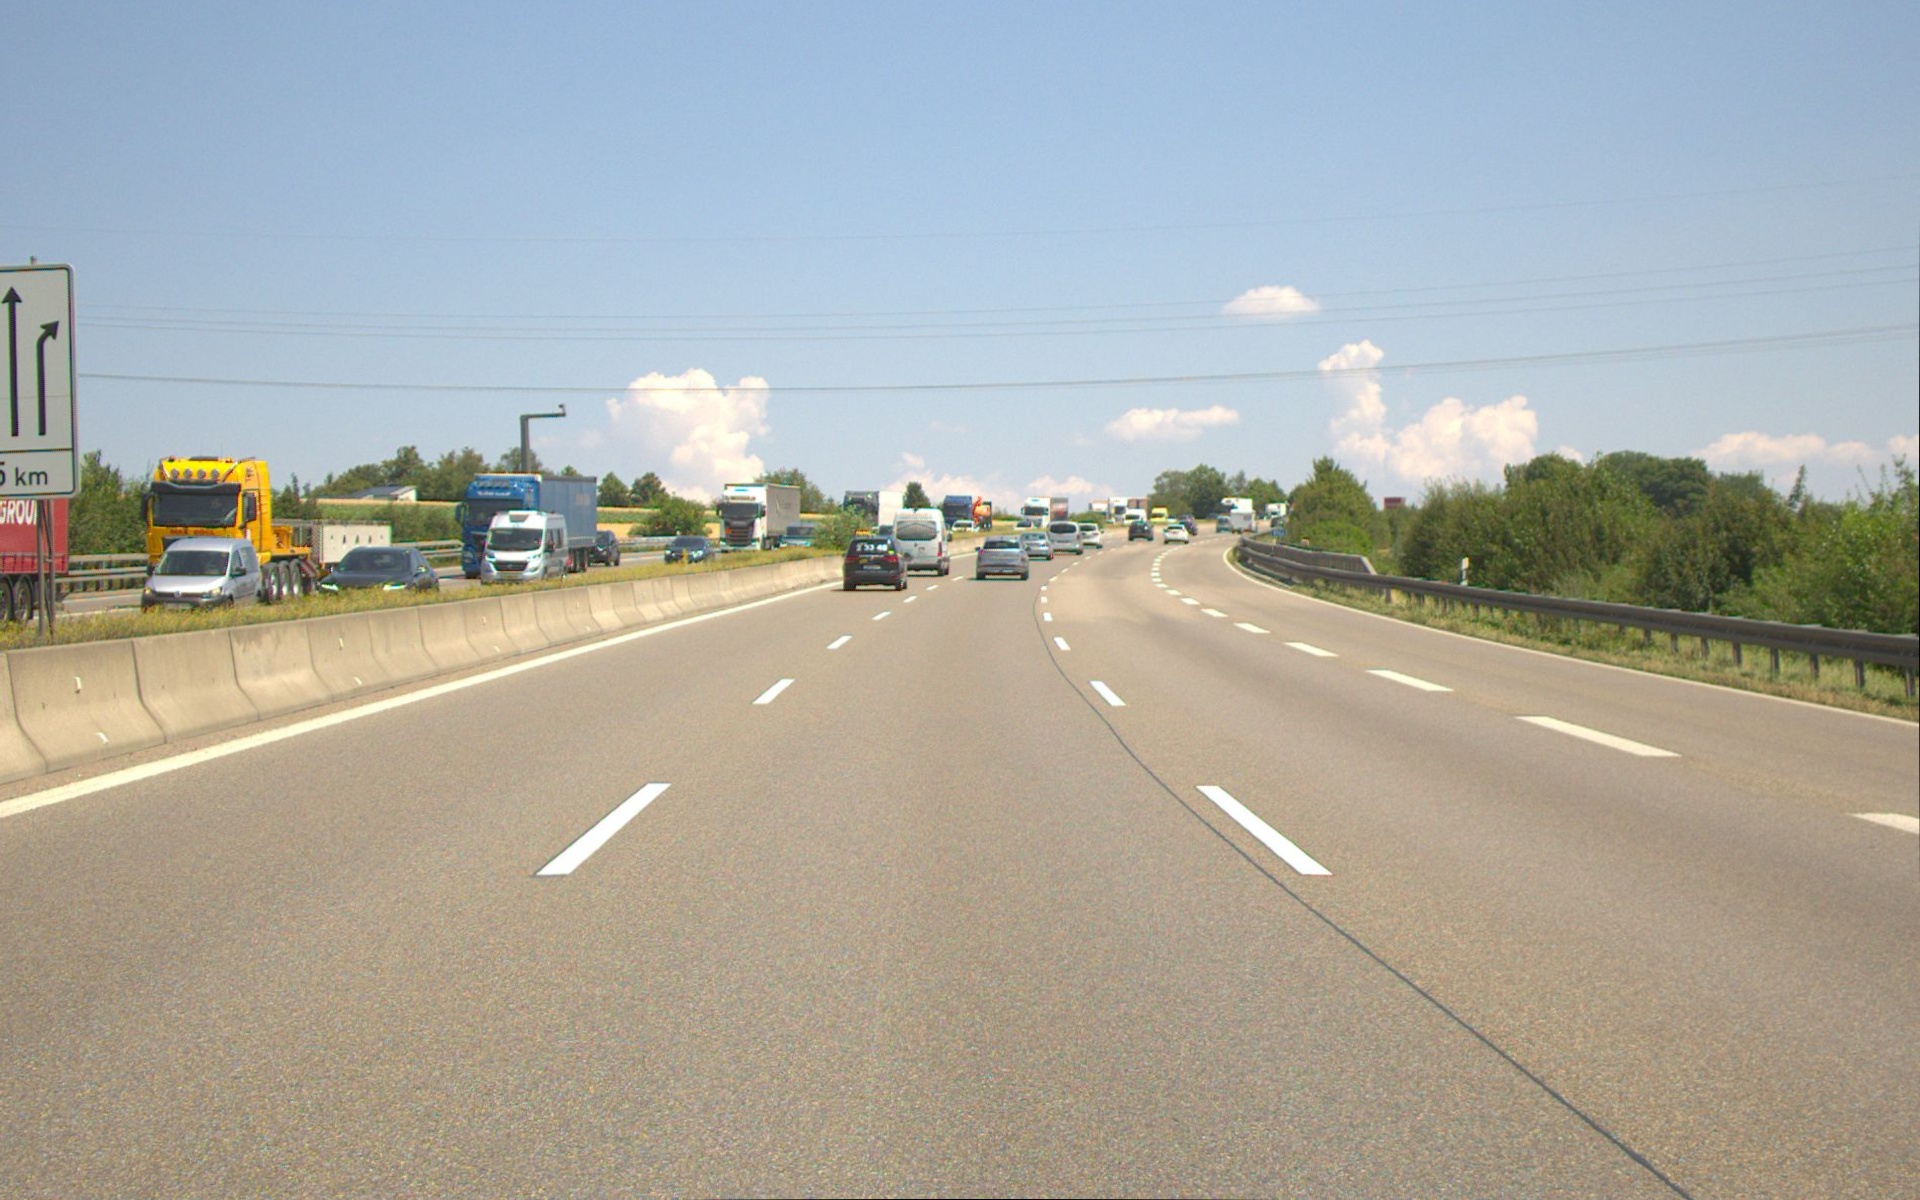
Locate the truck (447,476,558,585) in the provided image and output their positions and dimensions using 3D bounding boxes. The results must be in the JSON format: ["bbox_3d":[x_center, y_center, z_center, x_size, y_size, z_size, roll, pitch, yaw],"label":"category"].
[{"bbox_3d":[-17.603,-2.674,132.680,3.076,4.076,6.935,1,1,2],"label":"truck"}]

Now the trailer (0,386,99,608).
[{"bbox_3d":[-19.200,-1.895,62.575,3.086,4.086,14.381,1,1,1],"label":"trailer"}]

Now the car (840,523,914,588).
[{"bbox_3d":[-2.477,-1.353,103.603,1.847,1.854,4.205,0,2,4],"label":"car"}]

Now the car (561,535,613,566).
[{"bbox_3d":[-16.969,-2.263,156.573,1.658,1.380,4.350,1,2,3],"label":"car"}]

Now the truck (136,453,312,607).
[{"bbox_3d":[-19.071,-1.827,89.477,2.751,3.824,7.098,1,1,2],"label":"truck"}]

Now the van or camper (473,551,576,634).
[{"bbox_3d":[-14.067,-0.296,111.494,2.311,2.578,7.143,1,1,1],"label":"van or camper"}]

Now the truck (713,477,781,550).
[{"bbox_3d":[-12.700,-5.148,205.363,3.133,4.313,6.146,1,1,5],"label":"truck"}]

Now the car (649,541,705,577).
[{"bbox_3d":[-12.648,-1.841,153.933,1.913,1.536,5.743,1,1,1],"label":"car"}]

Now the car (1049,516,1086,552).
[{"bbox_3d":[6.001,-3.676,192.064,1.993,1.897,4.000,0,-1,0],"label":"car"}]

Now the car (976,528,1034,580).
[{"bbox_3d":[1.639,-1.654,125.823,1.993,1.744,4.000,1,-1,-1],"label":"car"}]

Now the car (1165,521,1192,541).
[{"bbox_3d":[16.292,-5.136,256.538,1.902,1.437,3.999,0,1,5],"label":"car"}]

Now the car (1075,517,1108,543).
[{"bbox_3d":[8.547,-4.554,222.750,1.994,1.546,4.000,2,2,3],"label":"car"}]

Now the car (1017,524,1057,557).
[{"bbox_3d":[3.894,-3.021,173.767,1.993,1.579,4.000,0,0,1],"label":"car"}]

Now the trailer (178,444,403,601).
[{"bbox_3d":[-18.674,-2.193,97.108,2.953,4.086,14.381,1,1,2],"label":"trailer"}]

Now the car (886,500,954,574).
[{"bbox_3d":[-1.509,-2.387,131.593,2.180,2.616,4.671,1,-1,5],"label":"car"}]

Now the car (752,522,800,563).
[{"bbox_3d":[-8.955,-2.790,167.411,1.913,1.963,5.447,1,1,1],"label":"car"}]

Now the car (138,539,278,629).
[{"bbox_3d":[-15.520,-0.348,71.184,1.913,1.766,4.763,1,1,-1],"label":"car"}]

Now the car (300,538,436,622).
[{"bbox_3d":[-12.552,-0.454,73.165,2.049,1.690,5.256,1,1,-1],"label":"car"}]
